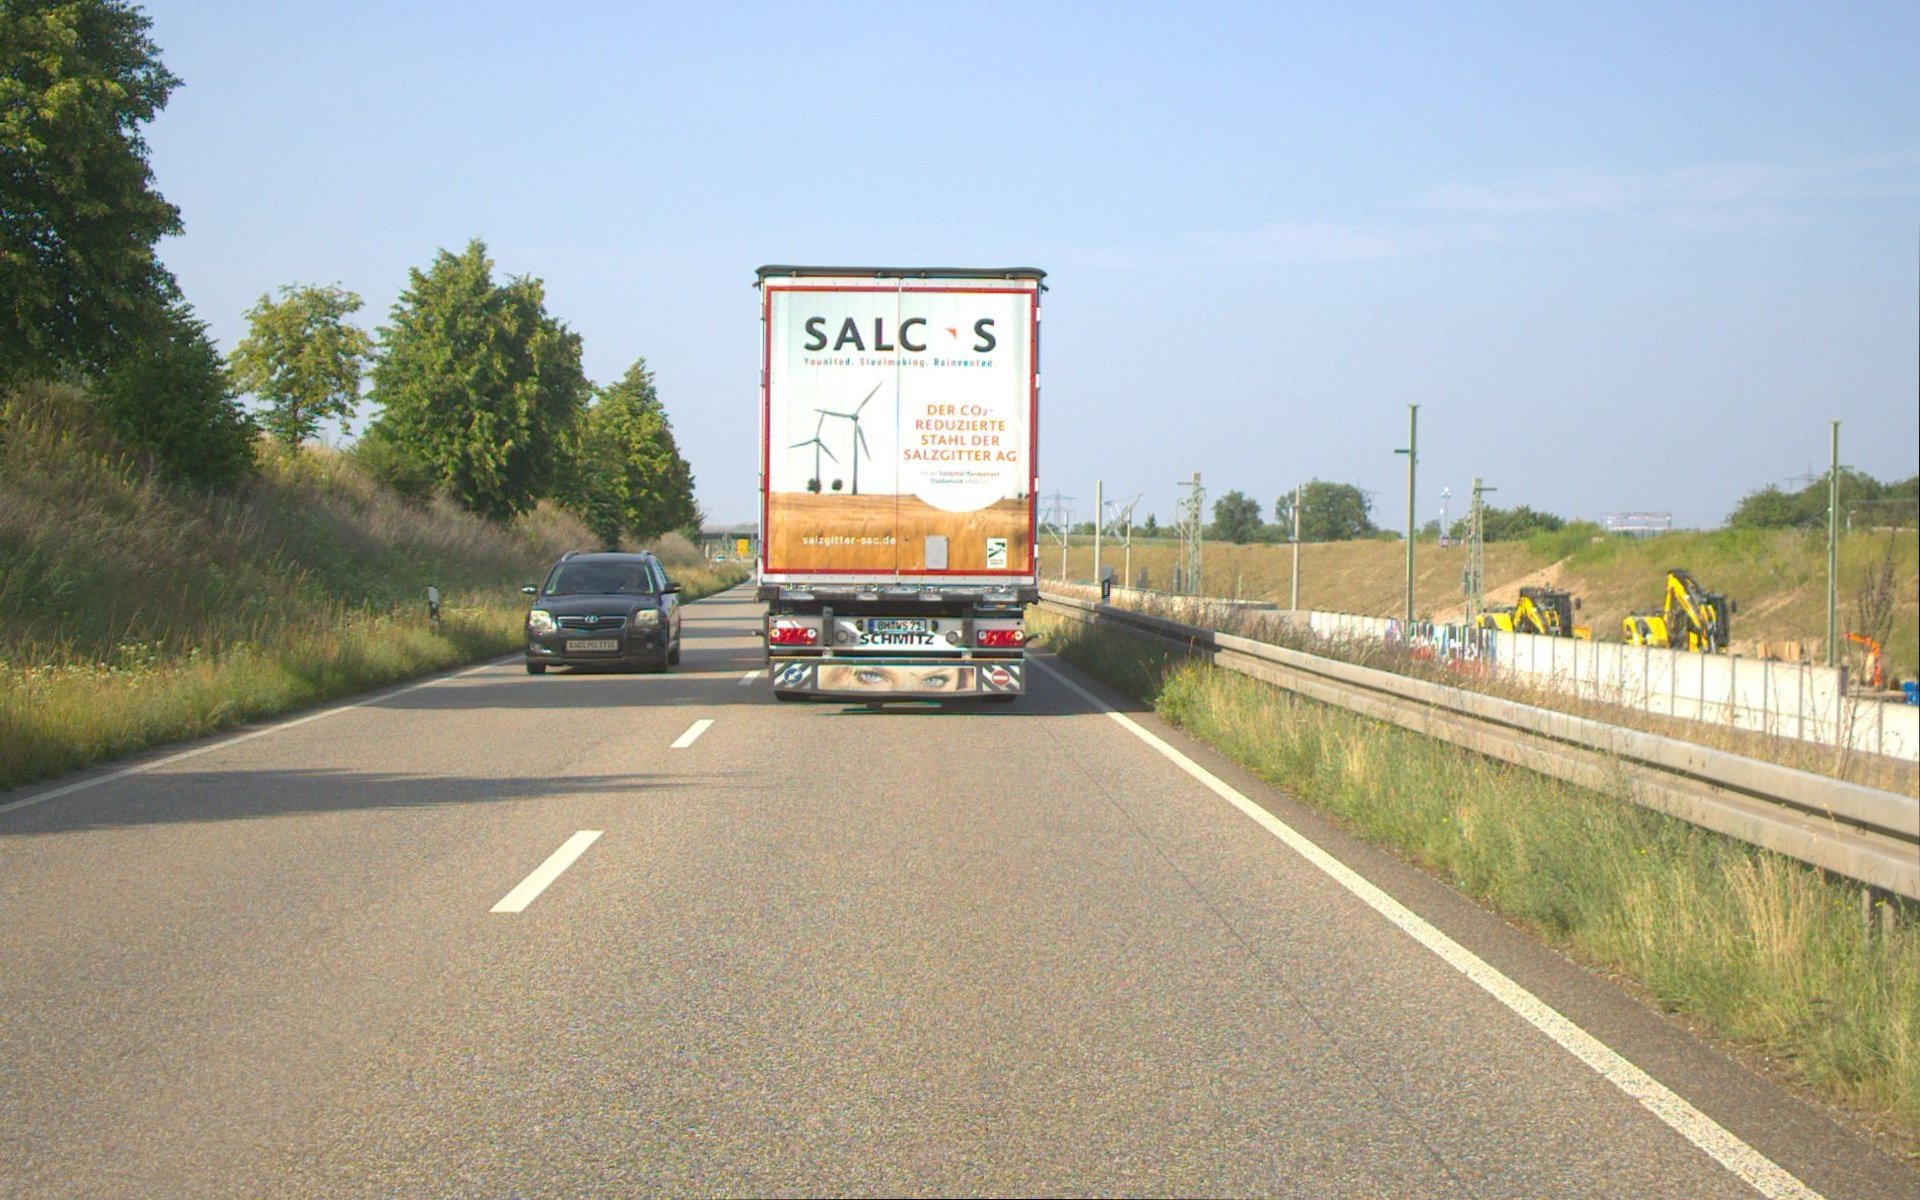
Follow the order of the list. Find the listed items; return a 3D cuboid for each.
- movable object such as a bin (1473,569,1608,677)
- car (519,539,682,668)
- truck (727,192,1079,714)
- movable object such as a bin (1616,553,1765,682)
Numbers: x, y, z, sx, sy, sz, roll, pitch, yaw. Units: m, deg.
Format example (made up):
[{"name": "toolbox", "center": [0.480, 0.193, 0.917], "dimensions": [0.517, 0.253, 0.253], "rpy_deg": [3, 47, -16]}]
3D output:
[{"name": "movable object such as a bin", "center": [18.450, 0.664, 109.662], "dimensions": [2.621, 3.228, 8.074], "rpy_deg": [1, 1, -2]}, {"name": "car", "center": [-4.499, 0.002, 43.567], "dimensions": [1.743, 1.541, 4.312], "rpy_deg": [0, 1, -2]}, {"name": "truck", "center": [-0.578, -1.388, 35.023], "dimensions": [3.153, 4.672, 8.442], "rpy_deg": [0, 1, -1]}, {"name": "movable object such as a bin", "center": [22.970, 0.490, 108.547], "dimensions": [2.796, 3.872, 7.539], "rpy_deg": [1, 1, -2]}]
